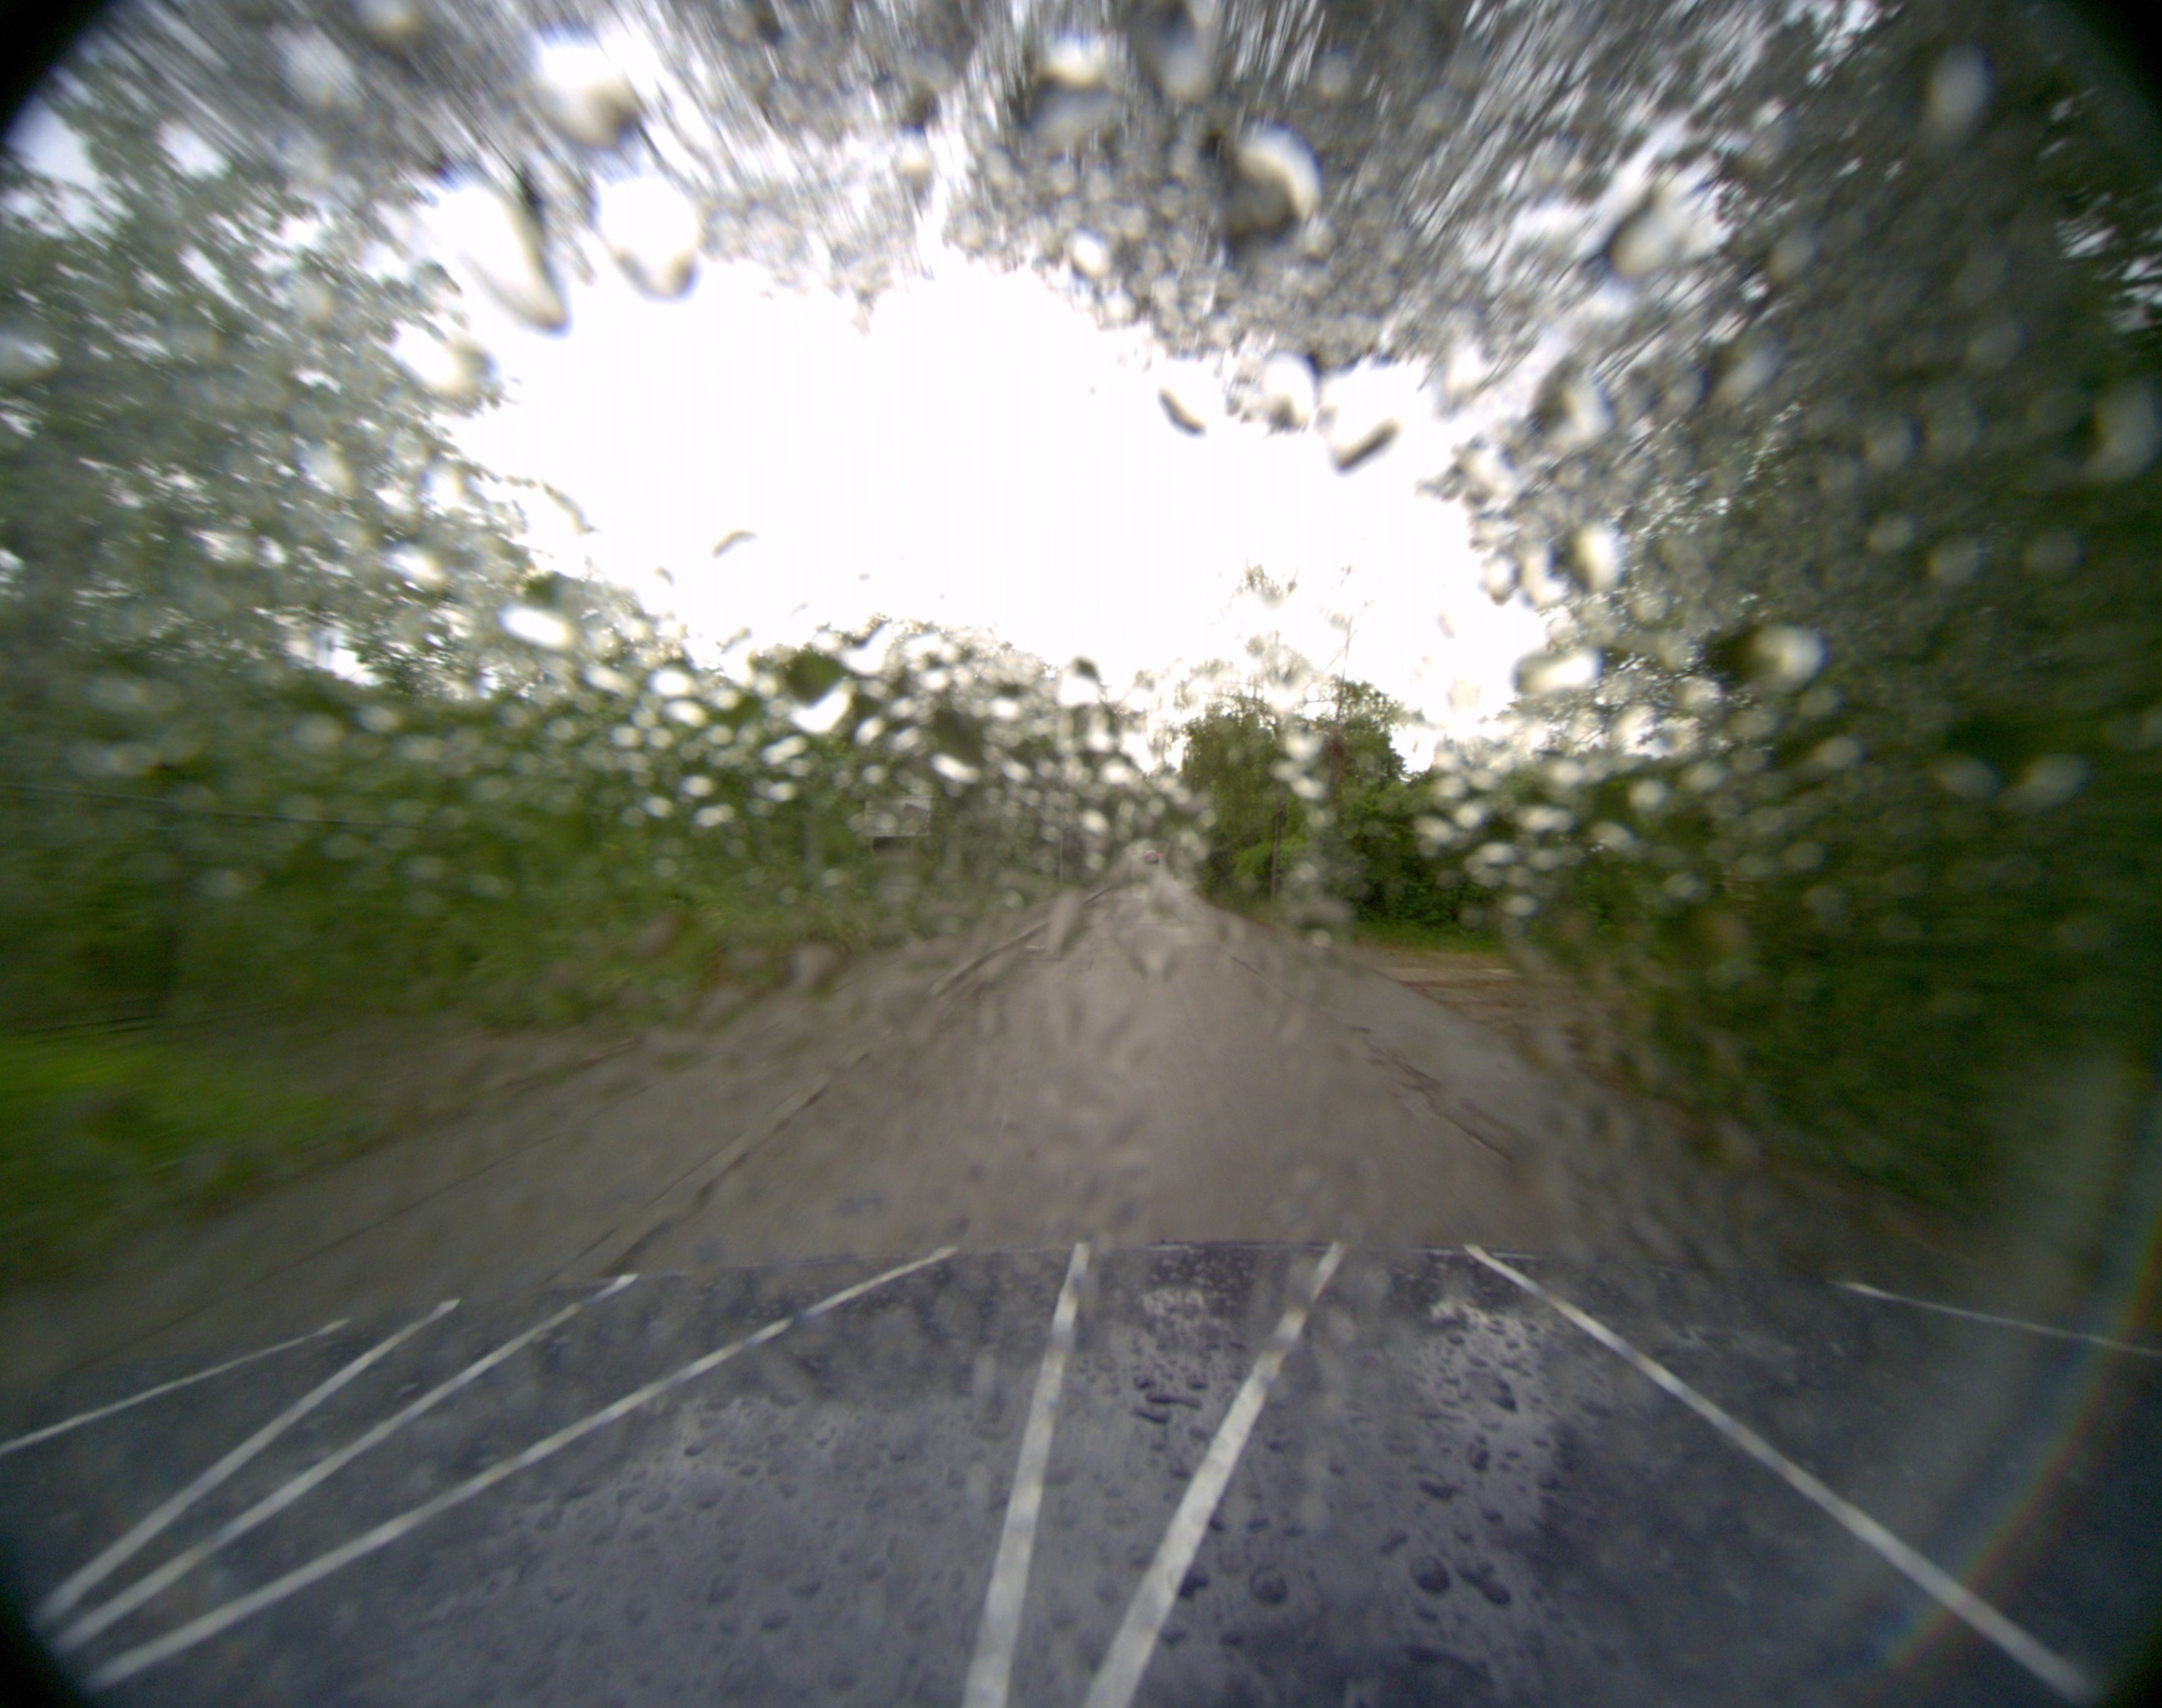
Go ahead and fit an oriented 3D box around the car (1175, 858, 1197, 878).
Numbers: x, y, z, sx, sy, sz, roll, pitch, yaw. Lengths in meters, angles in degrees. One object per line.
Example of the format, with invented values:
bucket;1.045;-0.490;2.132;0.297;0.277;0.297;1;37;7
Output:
car;9.328;1.225;67.551;1.689;1.717;4.070;1;0;5

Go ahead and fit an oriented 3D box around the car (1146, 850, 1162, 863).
car;9.832;0.398;102.925;1.927;1.611;4.464;-2;-1;3
